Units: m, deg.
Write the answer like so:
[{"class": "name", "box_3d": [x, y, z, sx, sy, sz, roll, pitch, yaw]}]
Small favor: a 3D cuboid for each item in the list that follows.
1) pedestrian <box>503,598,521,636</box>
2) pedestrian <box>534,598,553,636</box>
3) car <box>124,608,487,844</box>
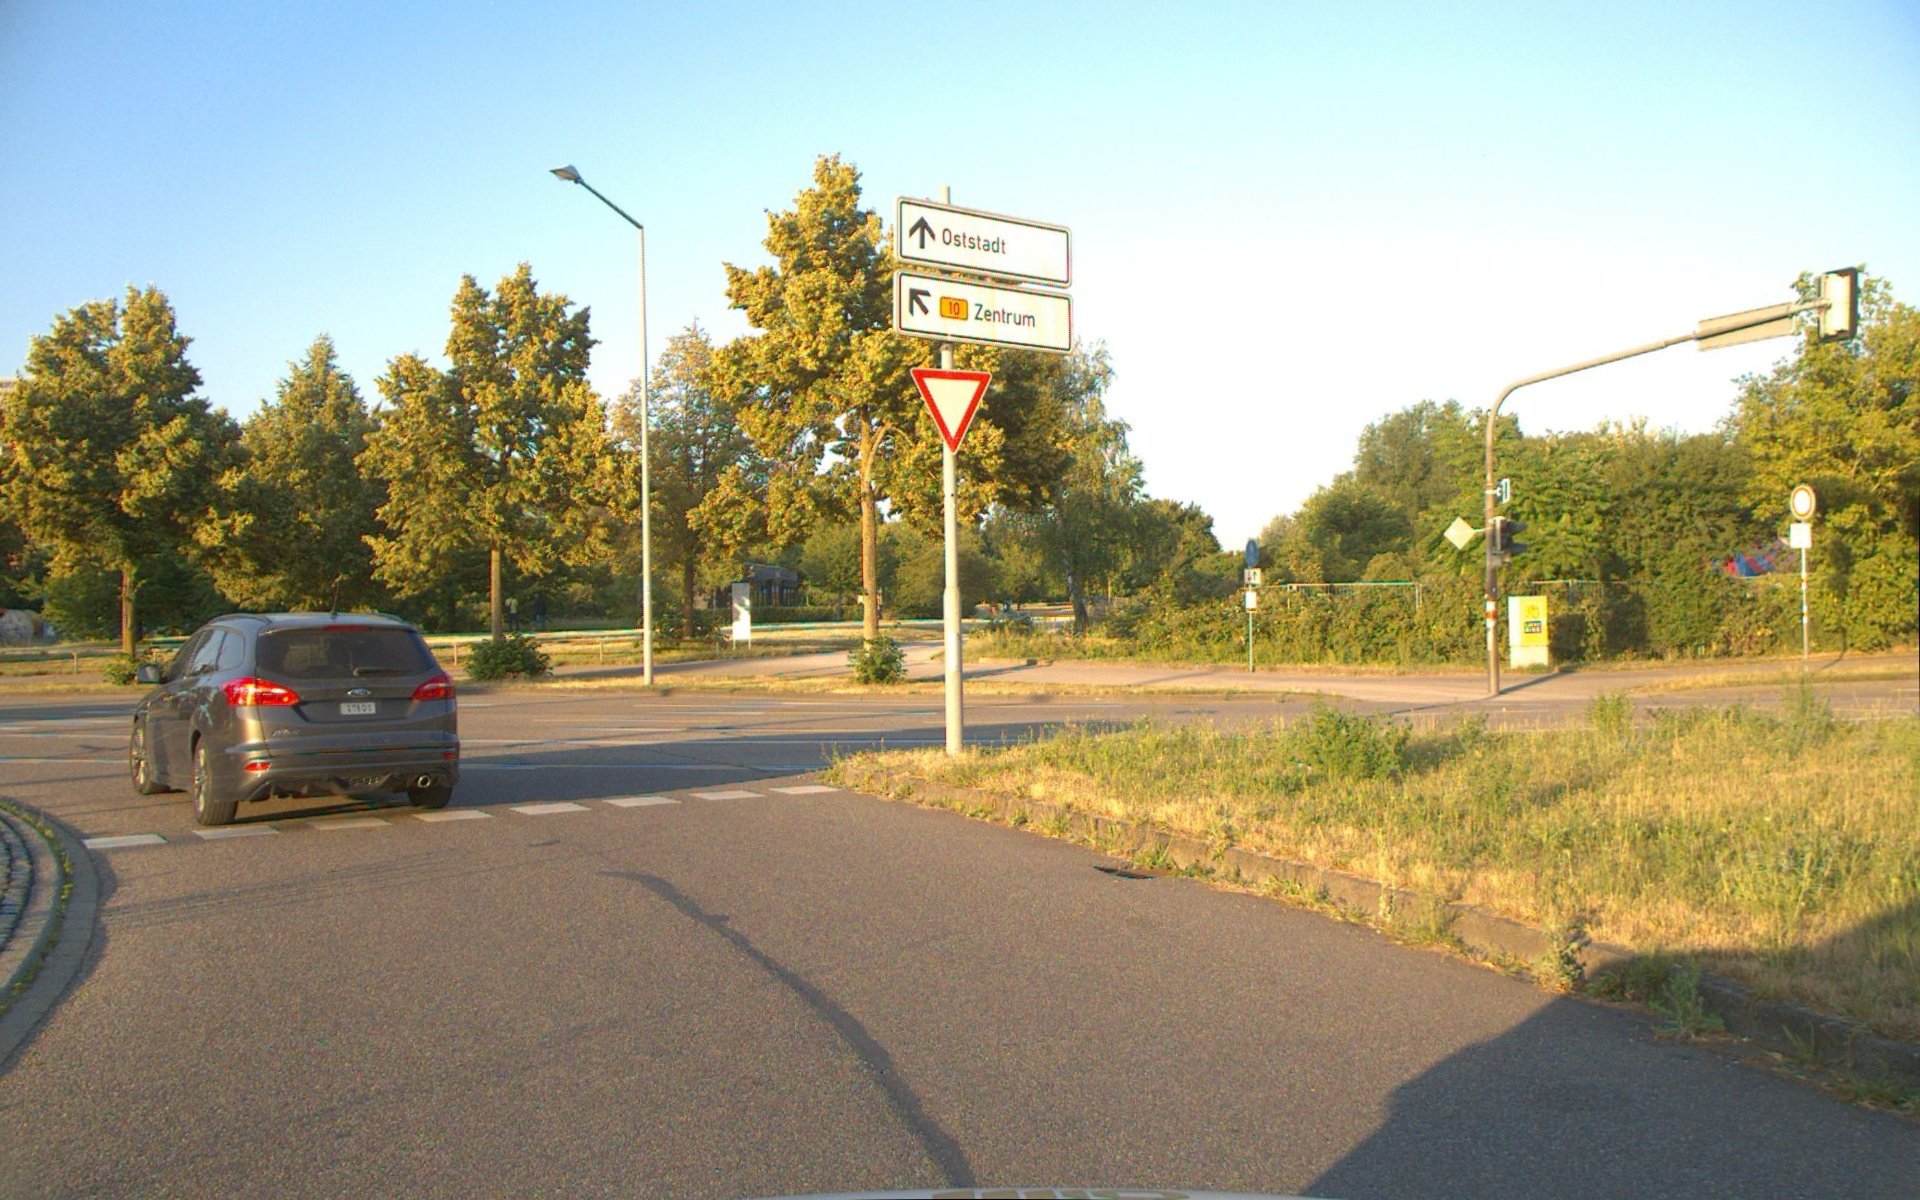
[{"class": "pedestrian", "box_3d": [-19.632, 0.753, 72.523, 0.576, 1.655, 0.525, -1, 0, -42]}, {"class": "pedestrian", "box_3d": [-18.211, 0.740, 72.360, 0.521, 1.655, 0.616, -1, 0, 43]}, {"class": "car", "box_3d": [-5.257, 0.833, 12.965, 1.732, 1.492, 4.083, -2, 1, -35]}]
